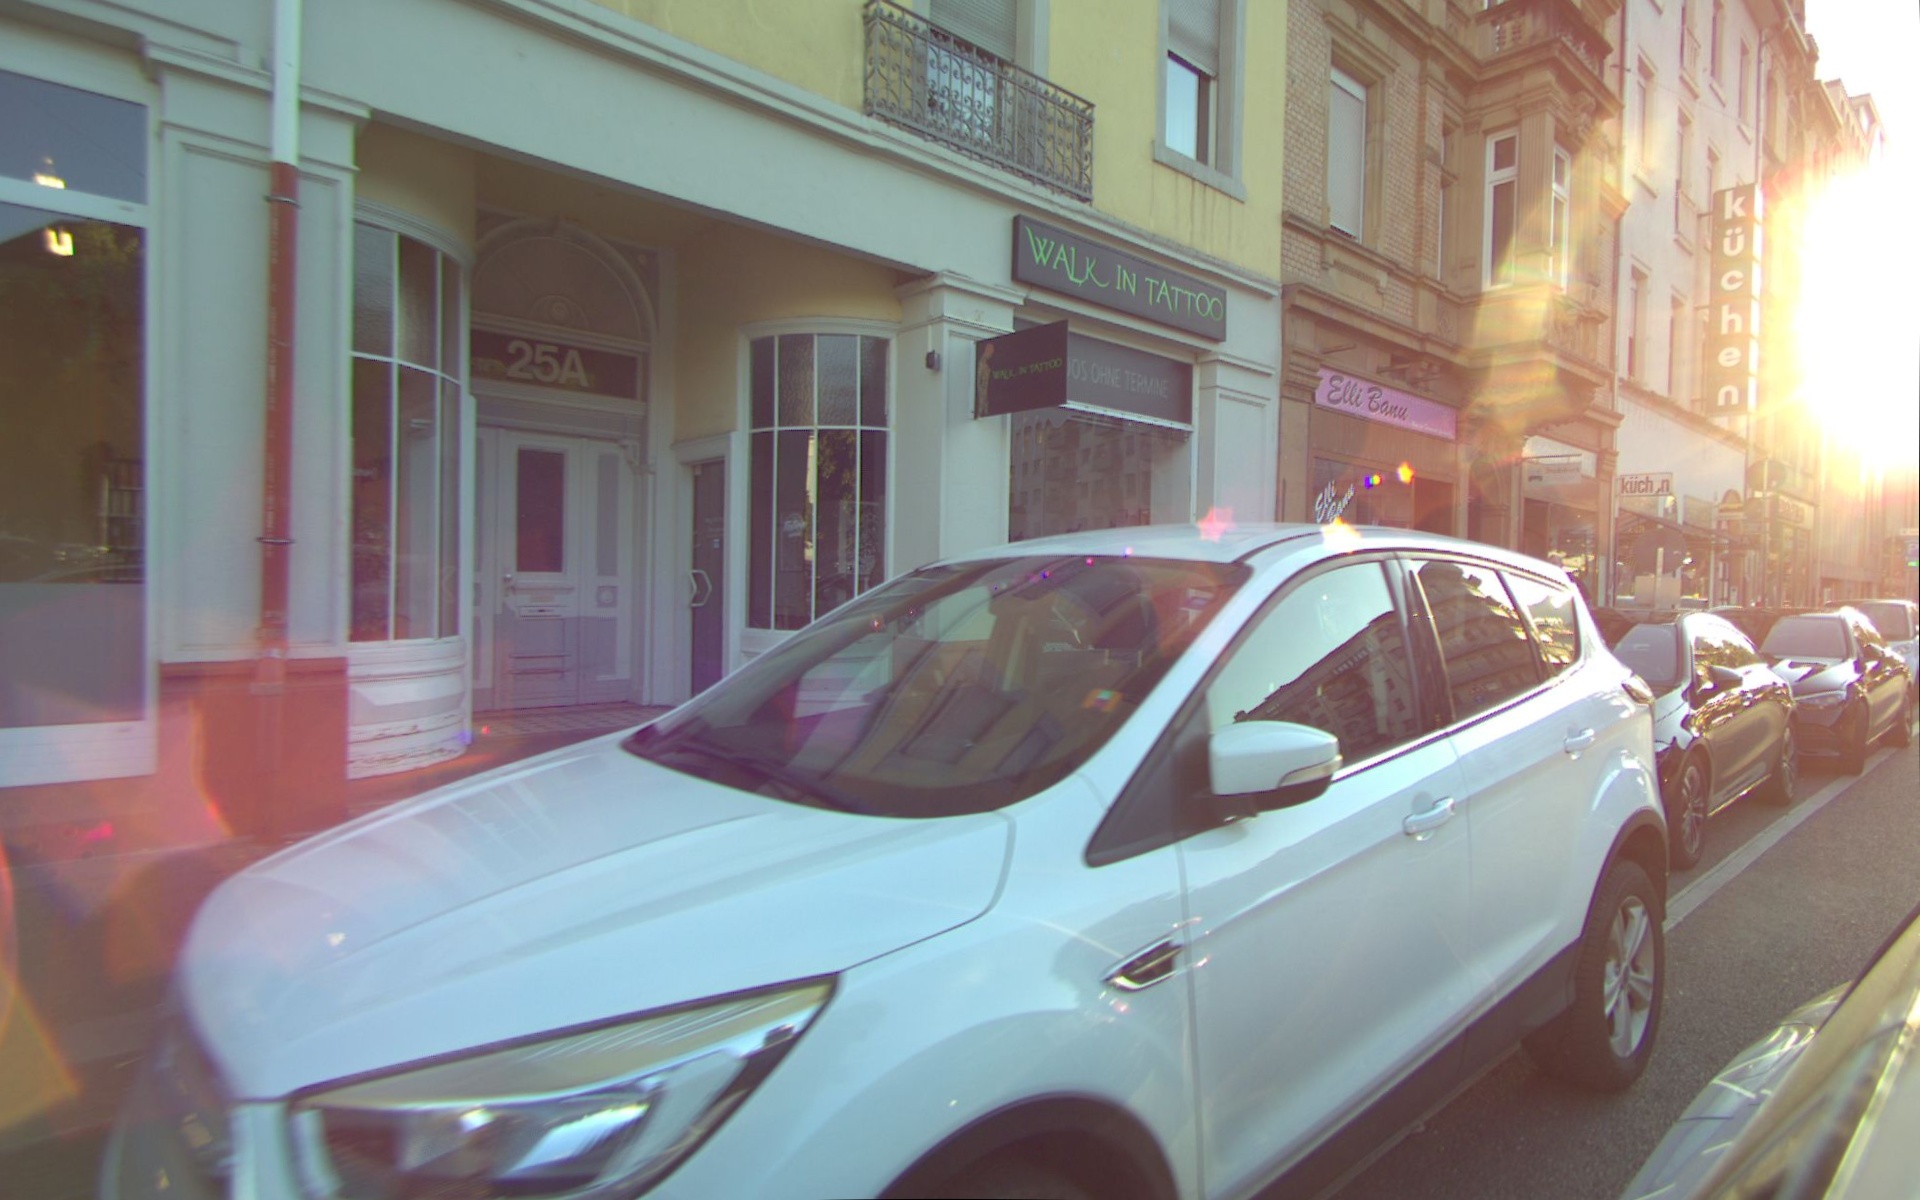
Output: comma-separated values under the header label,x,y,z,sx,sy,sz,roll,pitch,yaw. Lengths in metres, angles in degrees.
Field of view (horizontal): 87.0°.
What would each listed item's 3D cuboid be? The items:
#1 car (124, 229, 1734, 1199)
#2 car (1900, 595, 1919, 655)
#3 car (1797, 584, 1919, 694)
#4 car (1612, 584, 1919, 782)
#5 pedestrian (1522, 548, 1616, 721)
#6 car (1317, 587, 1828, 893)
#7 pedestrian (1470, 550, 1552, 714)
label,x,y,z,sx,sy,sz,roll,pitch,yaw
car,0.477,0.574,2.861,4.352,1.695,1.876,0,1,-41
car,24.957,0.613,25.228,4.374,1.447,1.906,0,1,-43
car,15.295,0.573,16.783,4.130,1.603,1.642,0,1,-43
car,8.334,0.650,10.234,4.374,1.559,1.906,0,1,-43
pedestrian,7.532,0.400,12.519,0.836,2.039,0.763,1,0,-41
car,4.452,0.662,7.029,4.374,1.447,1.906,0,1,-43
pedestrian,7.159,0.397,13.147,0.836,2.039,0.673,1,0,-41
